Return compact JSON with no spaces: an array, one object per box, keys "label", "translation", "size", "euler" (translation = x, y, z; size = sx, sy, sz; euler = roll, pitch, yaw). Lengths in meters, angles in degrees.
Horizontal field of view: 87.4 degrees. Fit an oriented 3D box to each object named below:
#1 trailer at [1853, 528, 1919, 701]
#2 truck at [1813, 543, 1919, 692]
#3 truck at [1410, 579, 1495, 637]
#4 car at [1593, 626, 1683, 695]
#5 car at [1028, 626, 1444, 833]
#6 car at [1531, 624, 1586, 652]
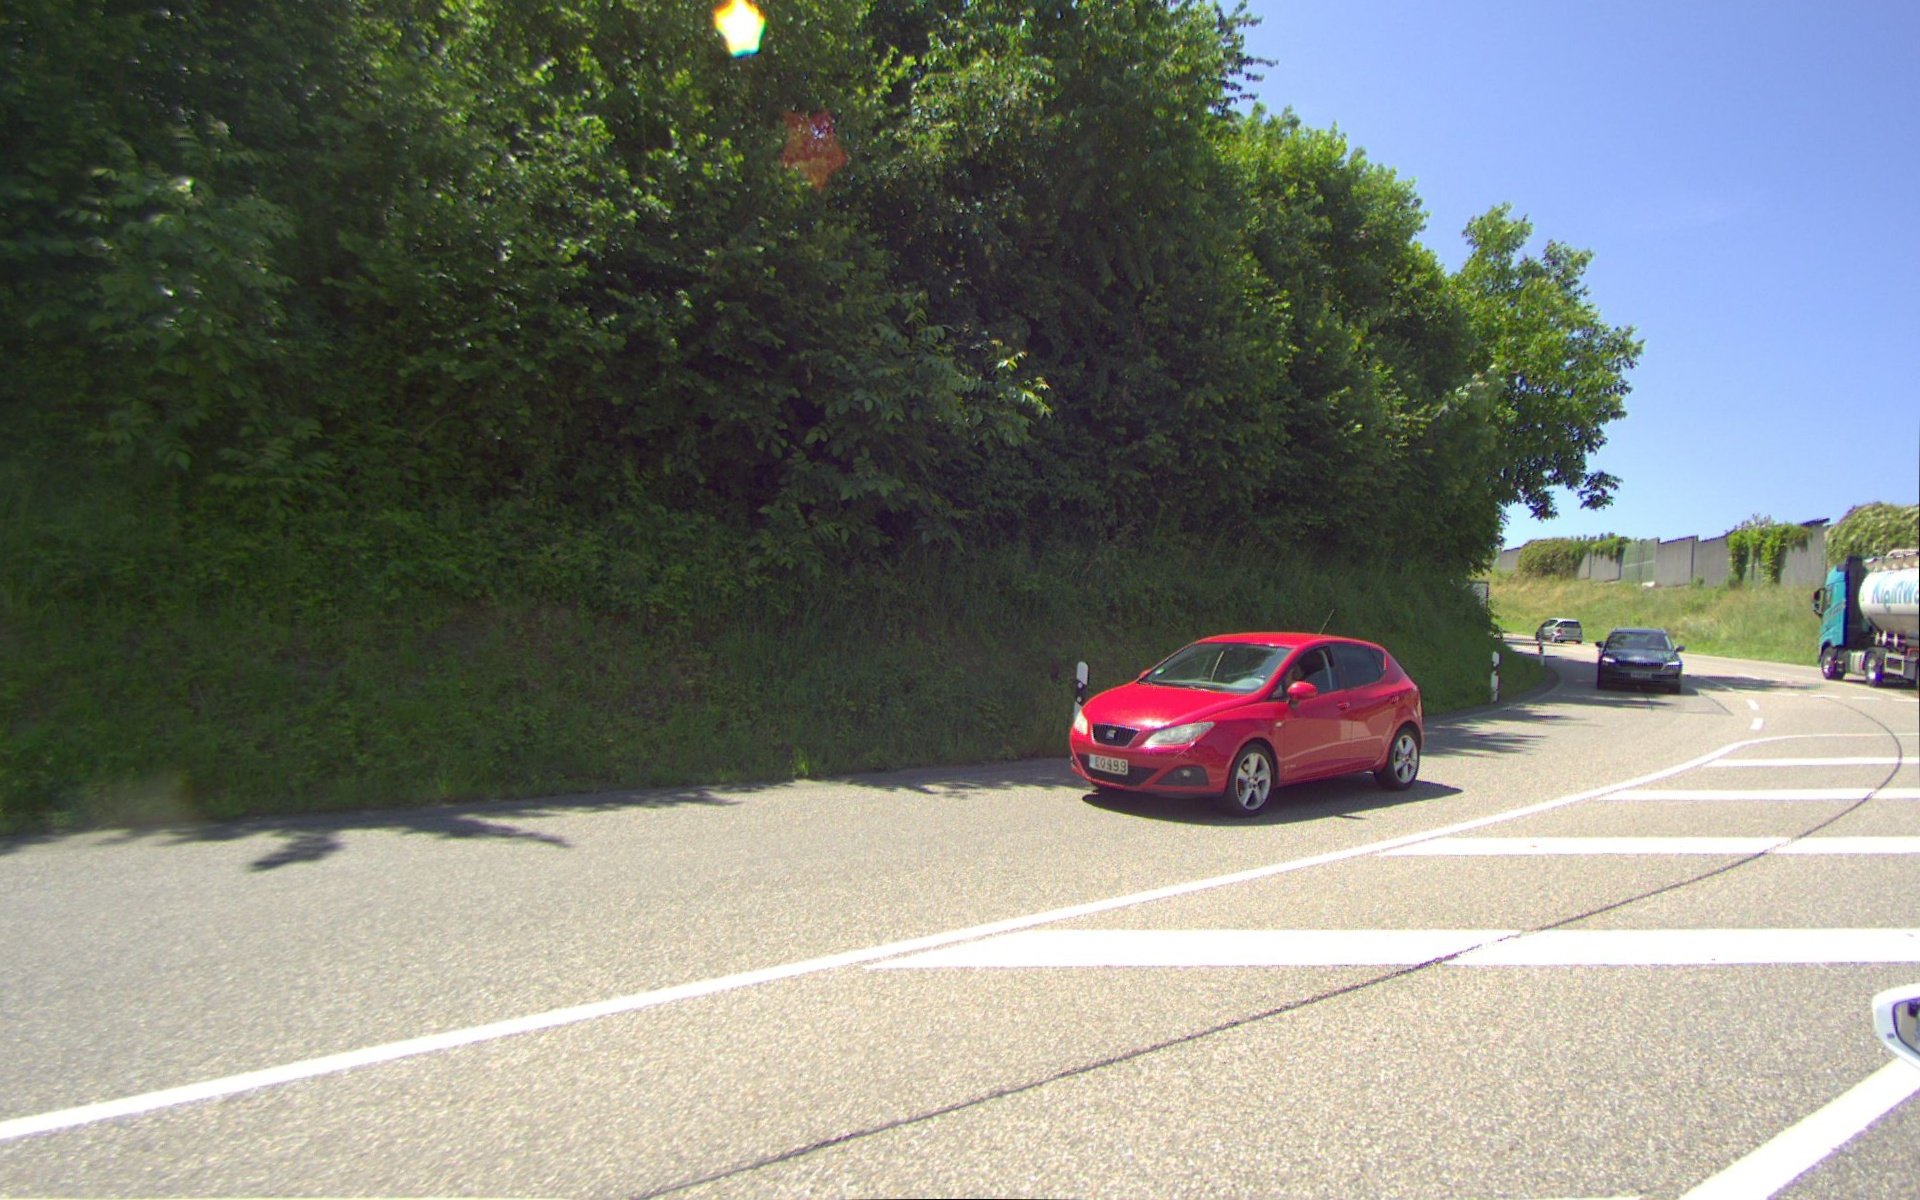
[{"label":"trailer","translation":[25.004,0.355,24.543],"size":[2.623,4.244,11.877],"euler":[0,-1,31]},{"label":"truck","translation":[27.949,0.528,29.677],"size":[2.686,3.982,7.252],"euler":[-1,-1,28]},{"label":"truck","translation":[41.922,0.498,86.003],"size":[3.136,4.367,11.805],"euler":[5,2,11]},{"label":"car","translation":[18.158,1.562,27.049],"size":[1.765,1.626,4.170],"euler":[1,0,31]},{"label":"car","translation":[2.661,1.017,9.230],"size":[3.967,1.467,1.735],"euler":[2,-2,-40]},{"label":"car","translation":[38.547,2.423,64.798],"size":[1.620,1.529,3.640],"euler":[5,1,8]}]
